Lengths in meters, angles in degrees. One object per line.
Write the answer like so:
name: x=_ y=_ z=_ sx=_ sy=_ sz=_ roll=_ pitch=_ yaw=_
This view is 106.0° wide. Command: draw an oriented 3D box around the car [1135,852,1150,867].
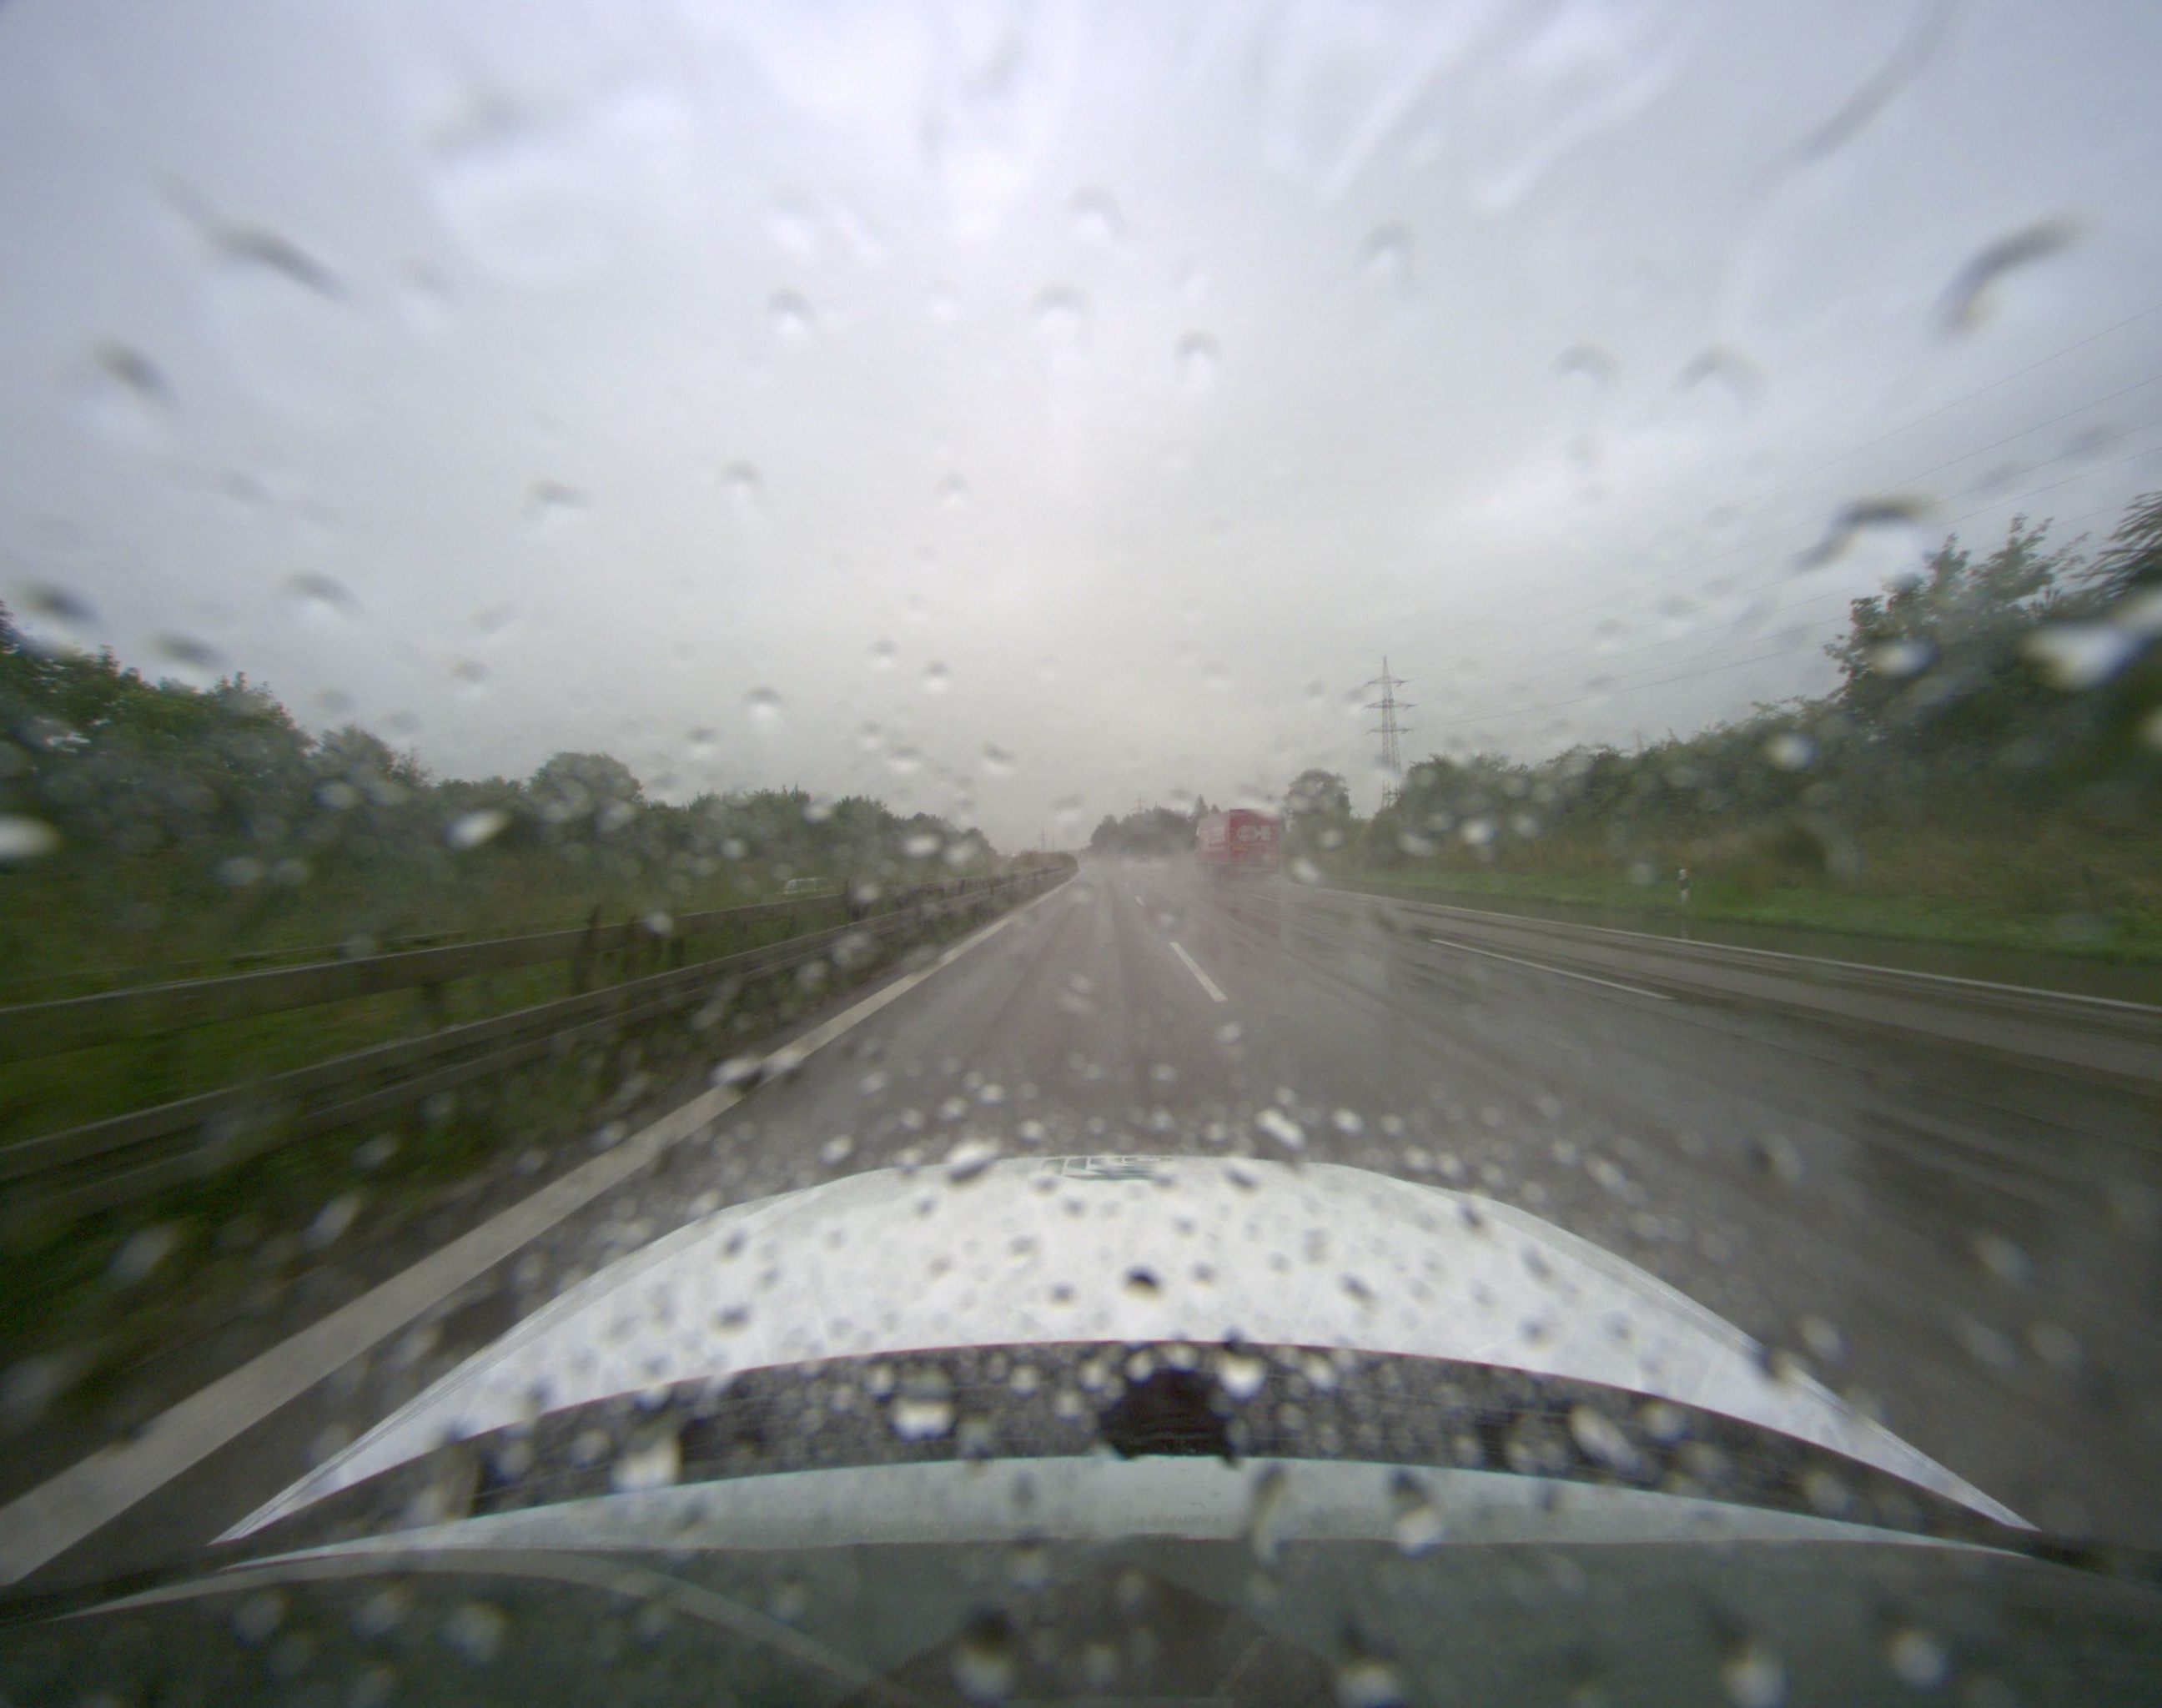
car: x=9.928 y=0.894 z=131.319 sx=1.802 sy=2.158 sz=3.997 roll=-4 pitch=0 yaw=-2

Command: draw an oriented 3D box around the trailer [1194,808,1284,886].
trailer: x=9.351 y=-0.319 z=50.058 sx=2.612 sy=3.955 sz=13.627 roll=-4 pitch=0 yaw=0
